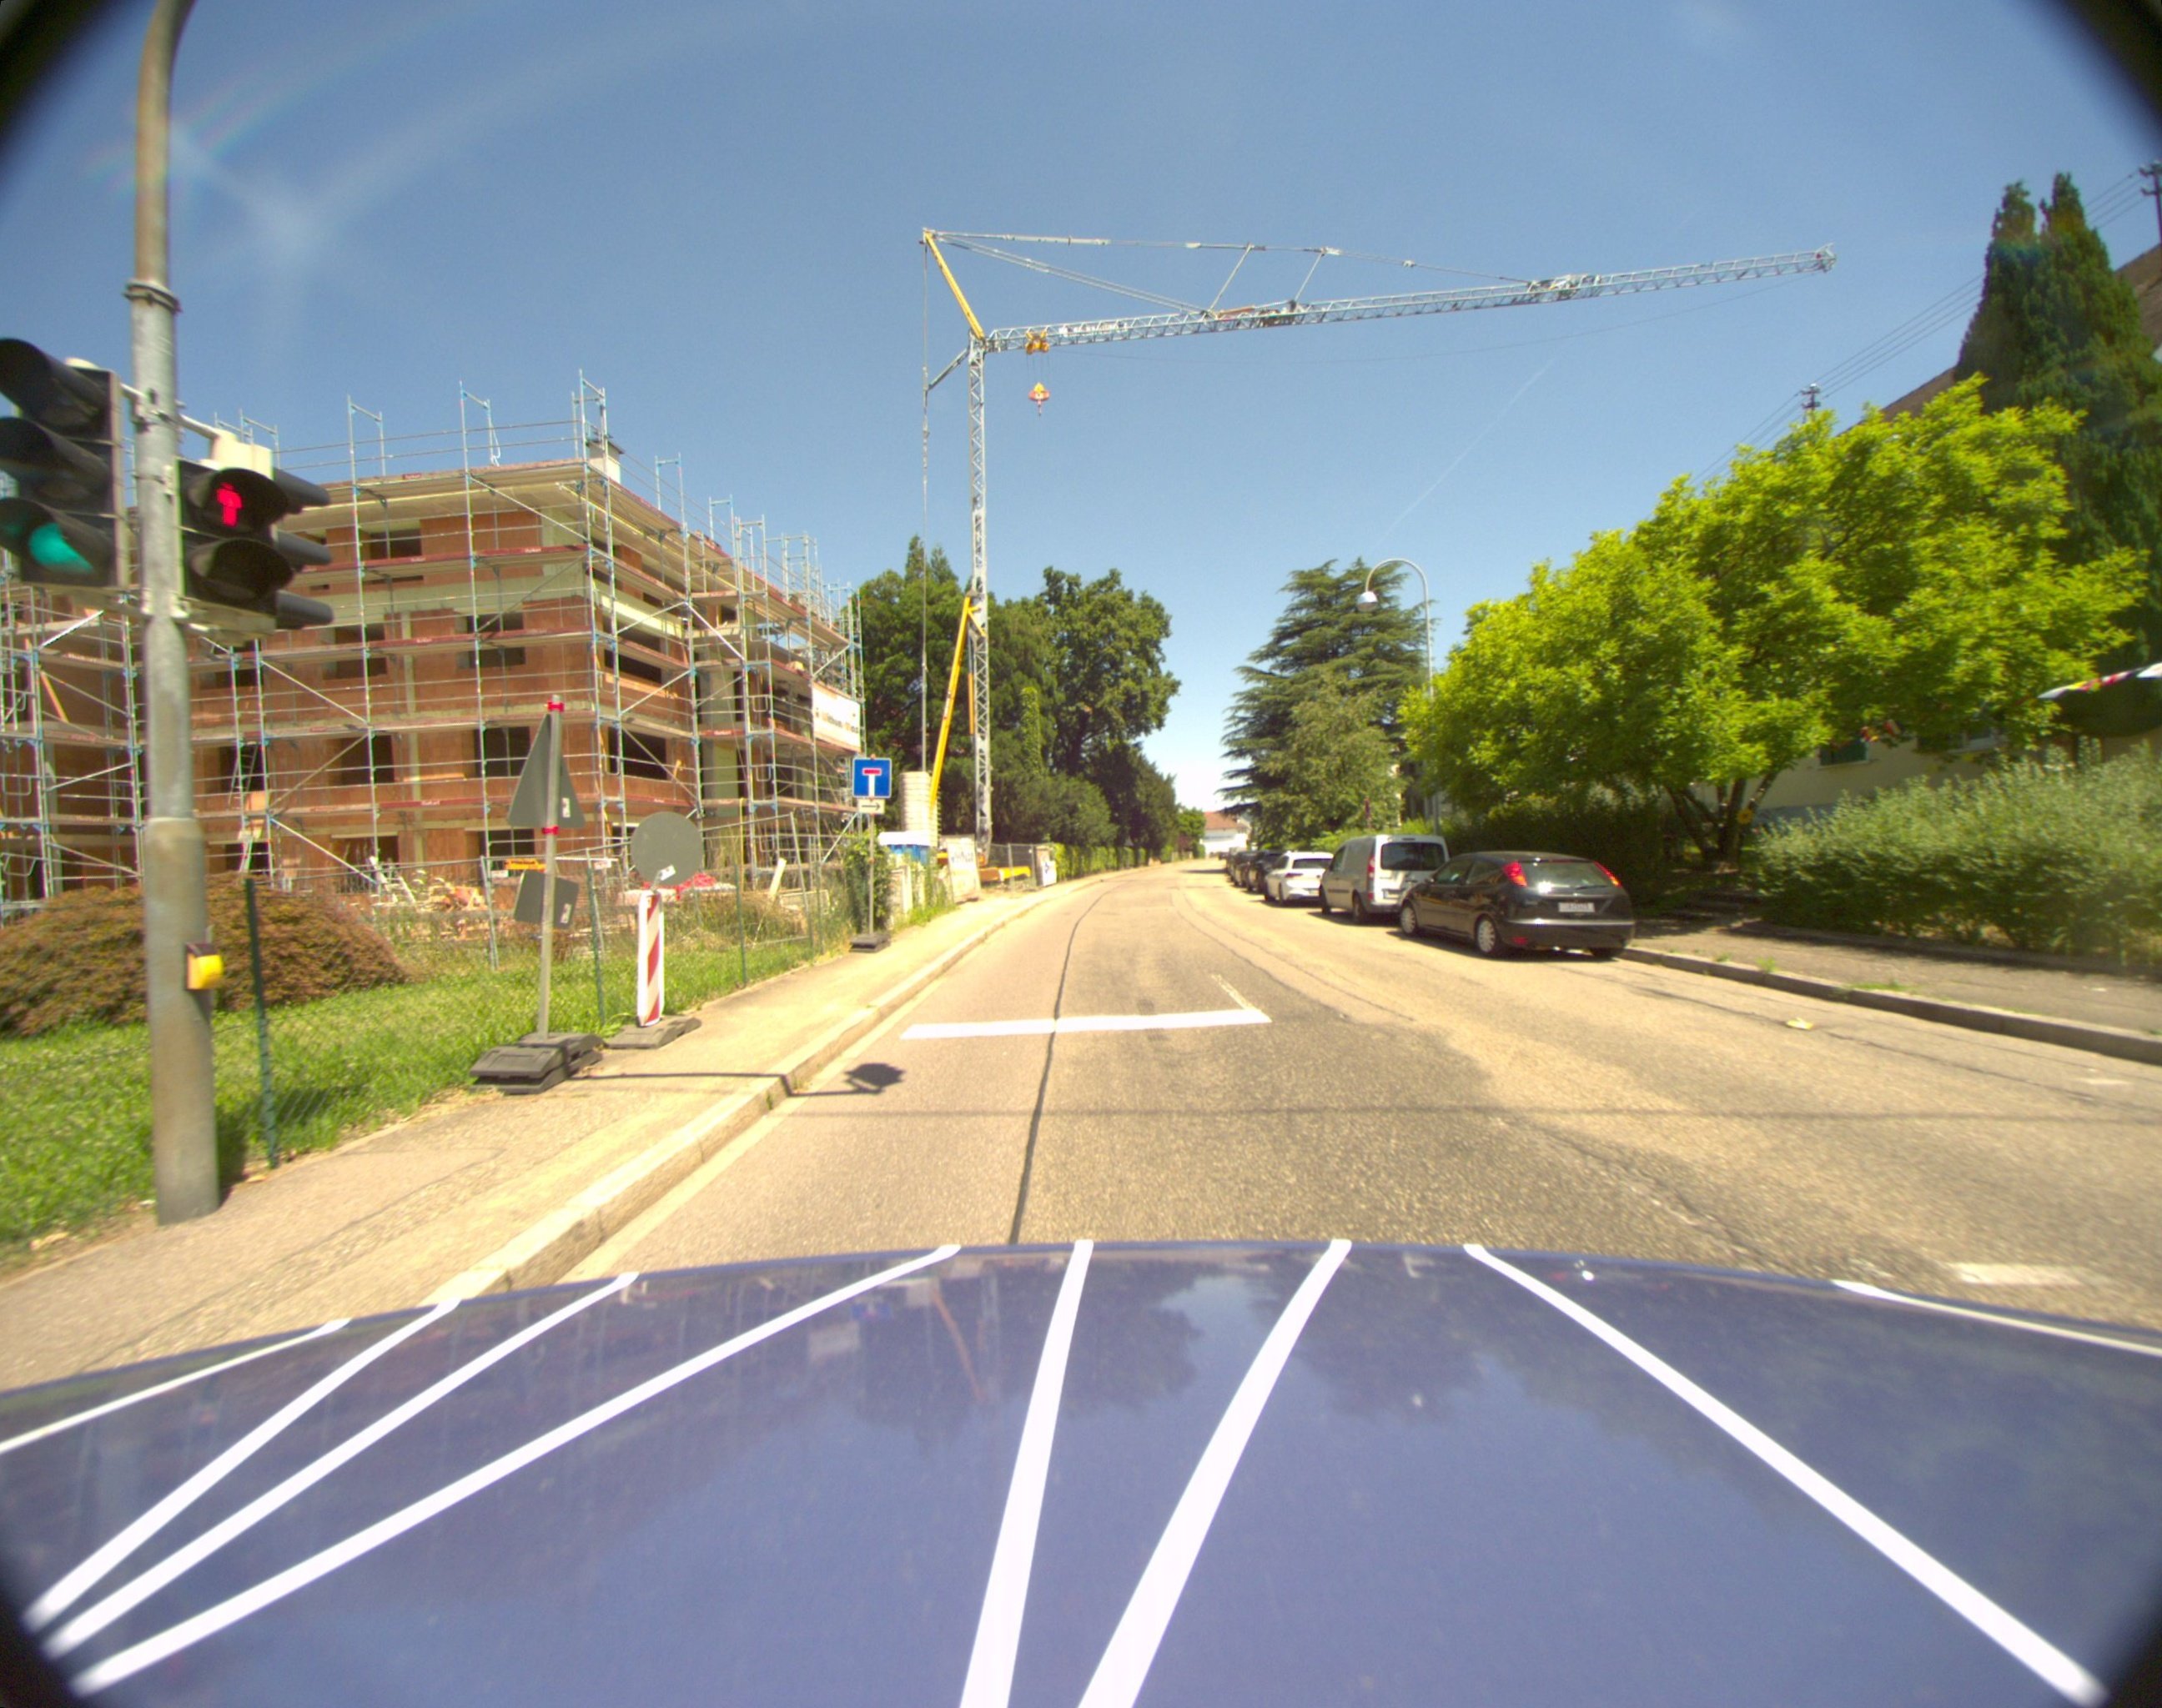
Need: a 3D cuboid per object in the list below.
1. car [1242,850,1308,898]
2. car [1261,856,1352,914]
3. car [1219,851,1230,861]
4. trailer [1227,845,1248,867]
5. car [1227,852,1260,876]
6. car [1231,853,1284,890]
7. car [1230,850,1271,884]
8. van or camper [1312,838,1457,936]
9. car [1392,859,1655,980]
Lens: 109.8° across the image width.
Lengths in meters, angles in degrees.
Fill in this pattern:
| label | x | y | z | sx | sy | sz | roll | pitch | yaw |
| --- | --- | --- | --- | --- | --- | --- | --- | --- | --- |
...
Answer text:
| label | x | y | z | sx | sy | sz | roll | pitch | yaw |
| --- | --- | --- | --- | --- | --- | --- | --- | --- | --- |
| car | 7.034 | 0.673 | 27.935 | 1.684 | 1.627 | 4.332 | -1 | 0 | 5 |
| car | 6.230 | 0.797 | 21.452 | 1.684 | 1.433 | 4.248 | -1 | 0 | 5 |
| car | 25.022 | 0.296 | 132.332 | 1.902 | 1.565 | 4.144 | -1 | 0 | 11 |
| trailer | 14.493 | 0.171 | 70.526 | 1.817 | 2.021 | 4.003 | 0 | 0 | 11 |
| car | 10.260 | 0.584 | 48.244 | 1.800 | 1.434 | 3.787 | -1 | 0 | 8 |
| car | 7.650 | 0.730 | 33.285 | 1.684 | 1.467 | 4.332 | -1 | 0 | 5 |
| car | 8.499 | 0.608 | 38.320 | 1.684 | 1.630 | 3.792 | -1 | 0 | 8 |
| van or camper | 6.236 | 0.603 | 16.092 | 1.685 | 1.793 | 3.986 | -1 | 0 | 4 |
| car | 6.178 | 0.810 | 11.195 | 1.685 | 1.404 | 3.927 | -1 | 0 | 2 |
